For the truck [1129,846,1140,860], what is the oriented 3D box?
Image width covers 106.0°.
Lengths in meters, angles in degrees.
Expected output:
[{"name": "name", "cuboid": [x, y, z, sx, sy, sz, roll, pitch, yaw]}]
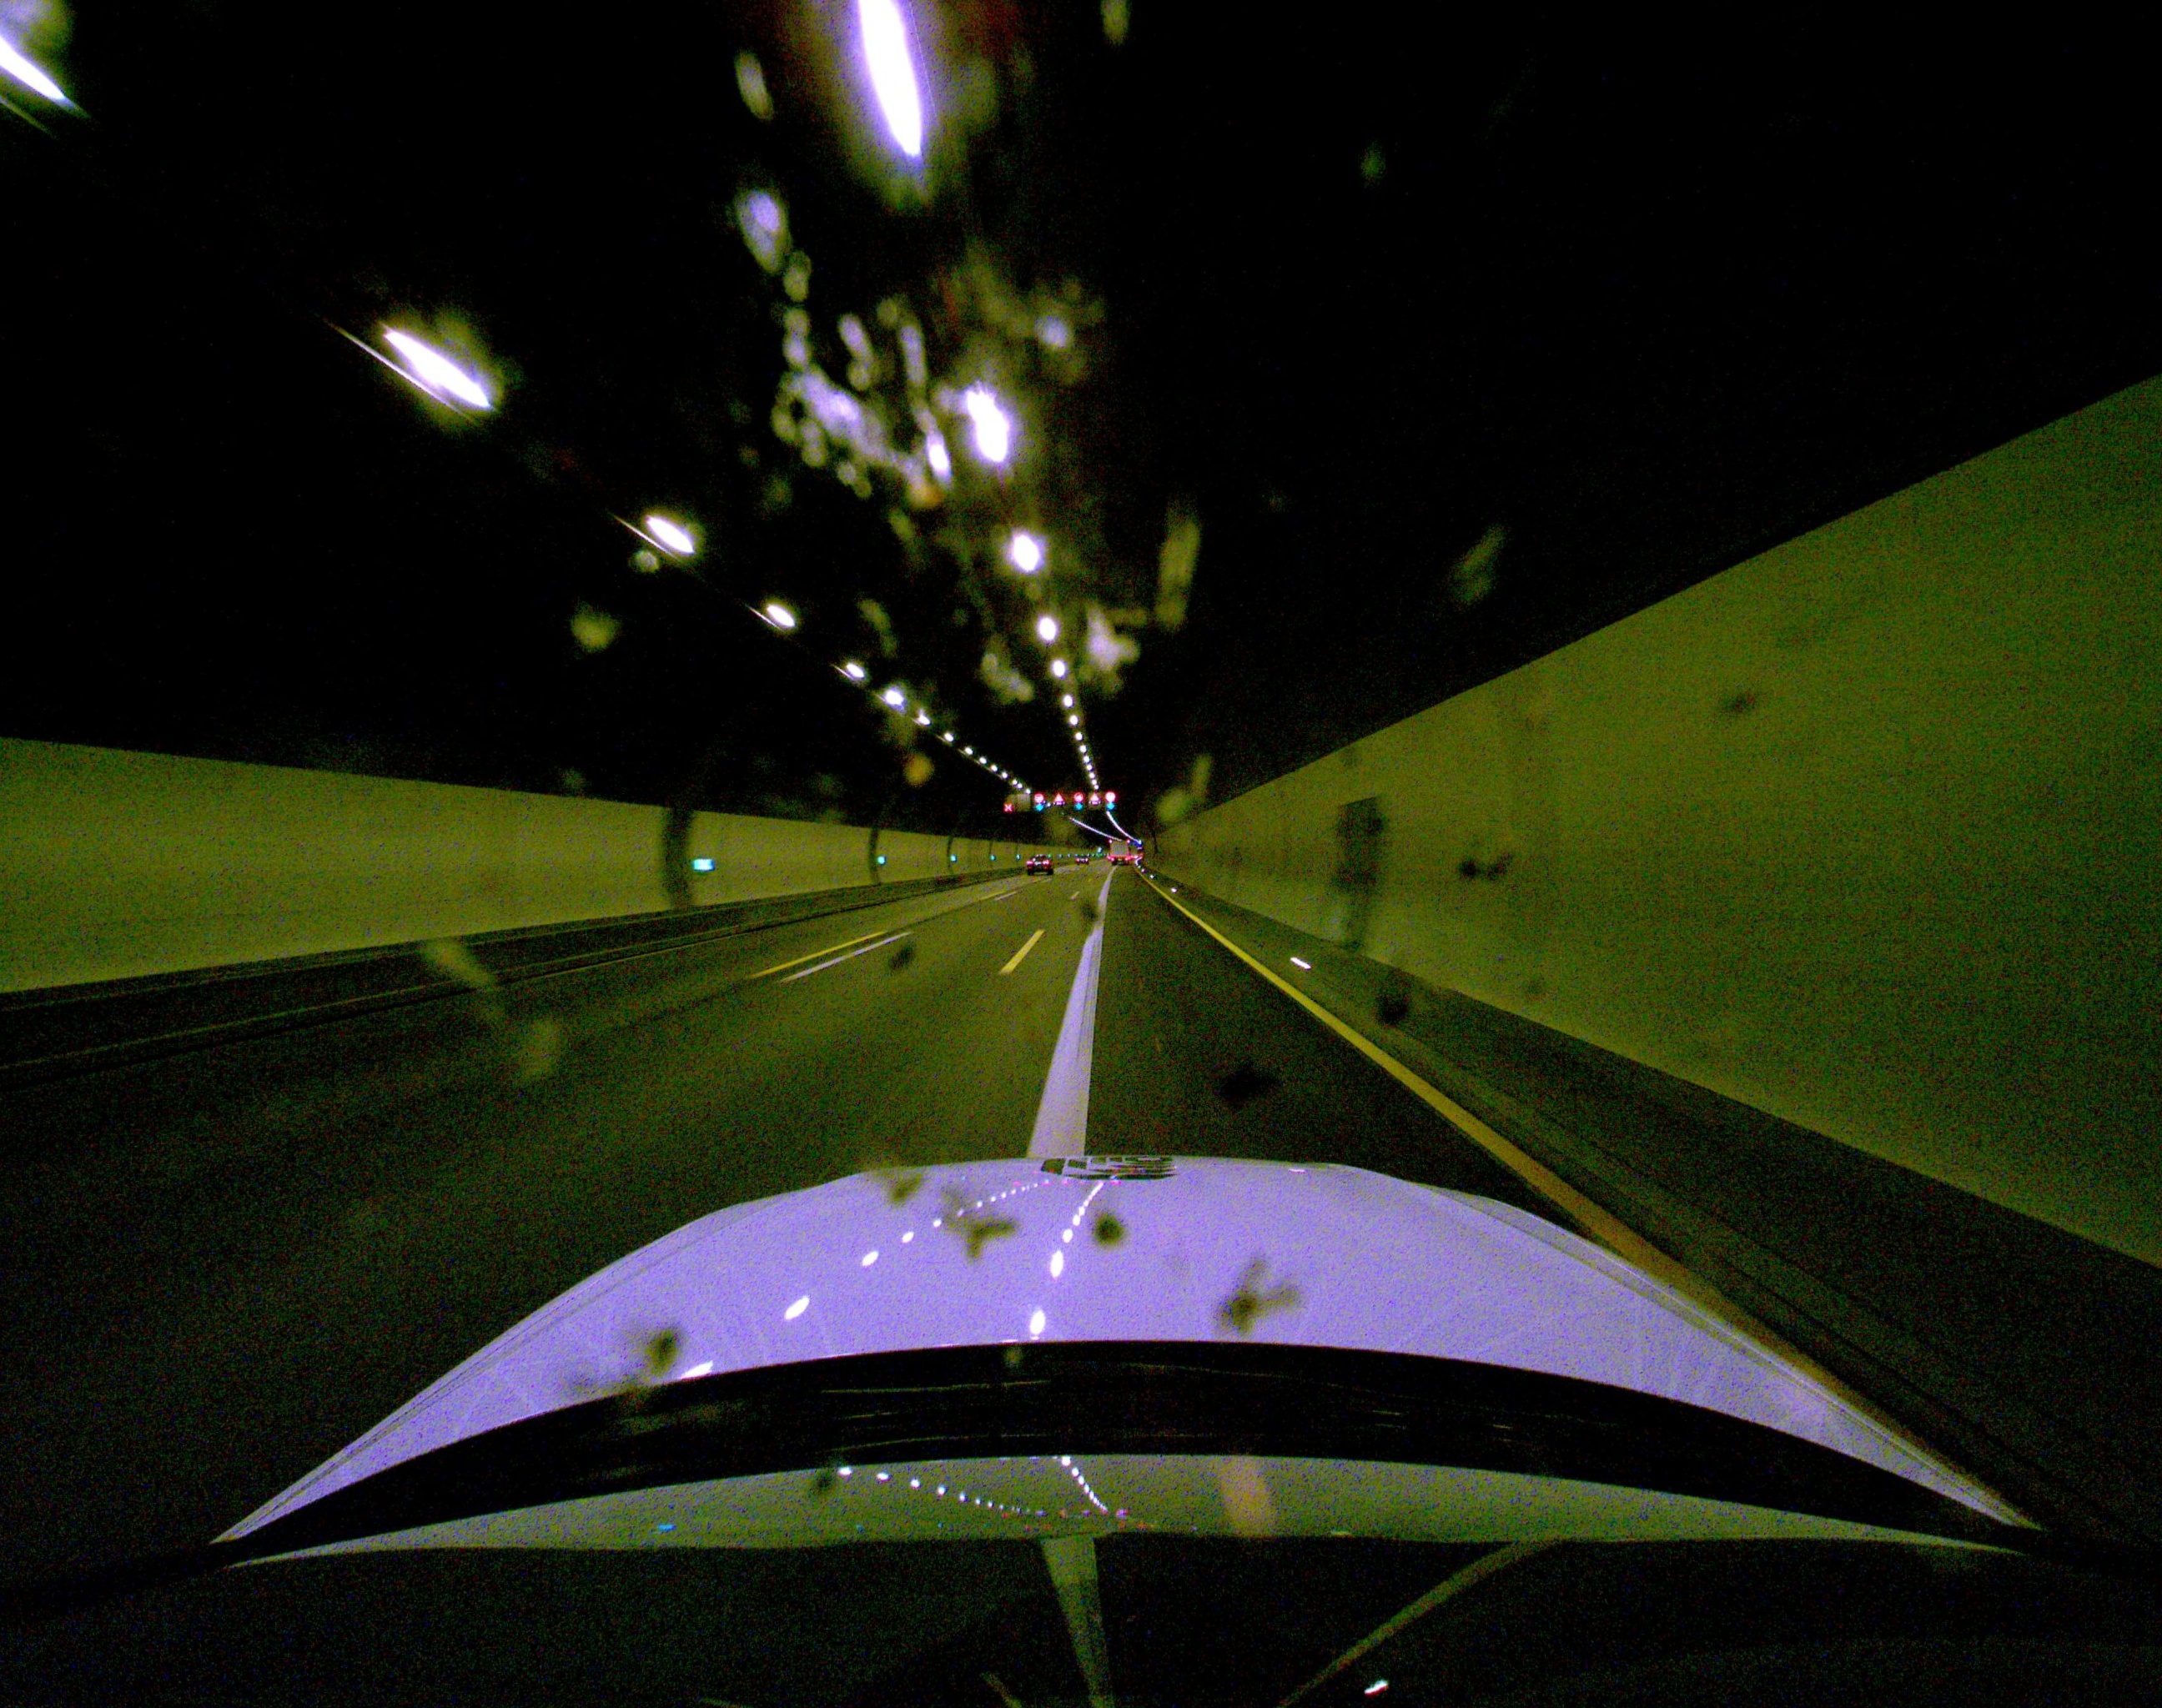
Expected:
[{"name": "truck", "cuboid": [16.256, -0.162, 247.594, 2.910, 4.048, 14.043, -1, 0, 4]}]

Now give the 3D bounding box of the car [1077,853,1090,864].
[{"name": "car", "cuboid": [0.366, 0.681, 122.057, 1.806, 1.520, 4.002, 0, 1, 2]}]

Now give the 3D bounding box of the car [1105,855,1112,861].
[{"name": "car", "cuboid": [6.212, 0.881, 184.104, 1.644, 1.274, 4.002, 0, 1, 2]}]

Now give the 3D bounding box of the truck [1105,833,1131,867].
[{"name": "truck", "cuboid": [5.384, -0.529, 121.261, 3.267, 4.650, 17.288, -1, 0, 1]}]

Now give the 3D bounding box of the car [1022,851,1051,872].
[{"name": "car", "cuboid": [-3.462, 0.587, 64.160, 1.805, 1.618, 4.003, 0, 0, 3]}]
